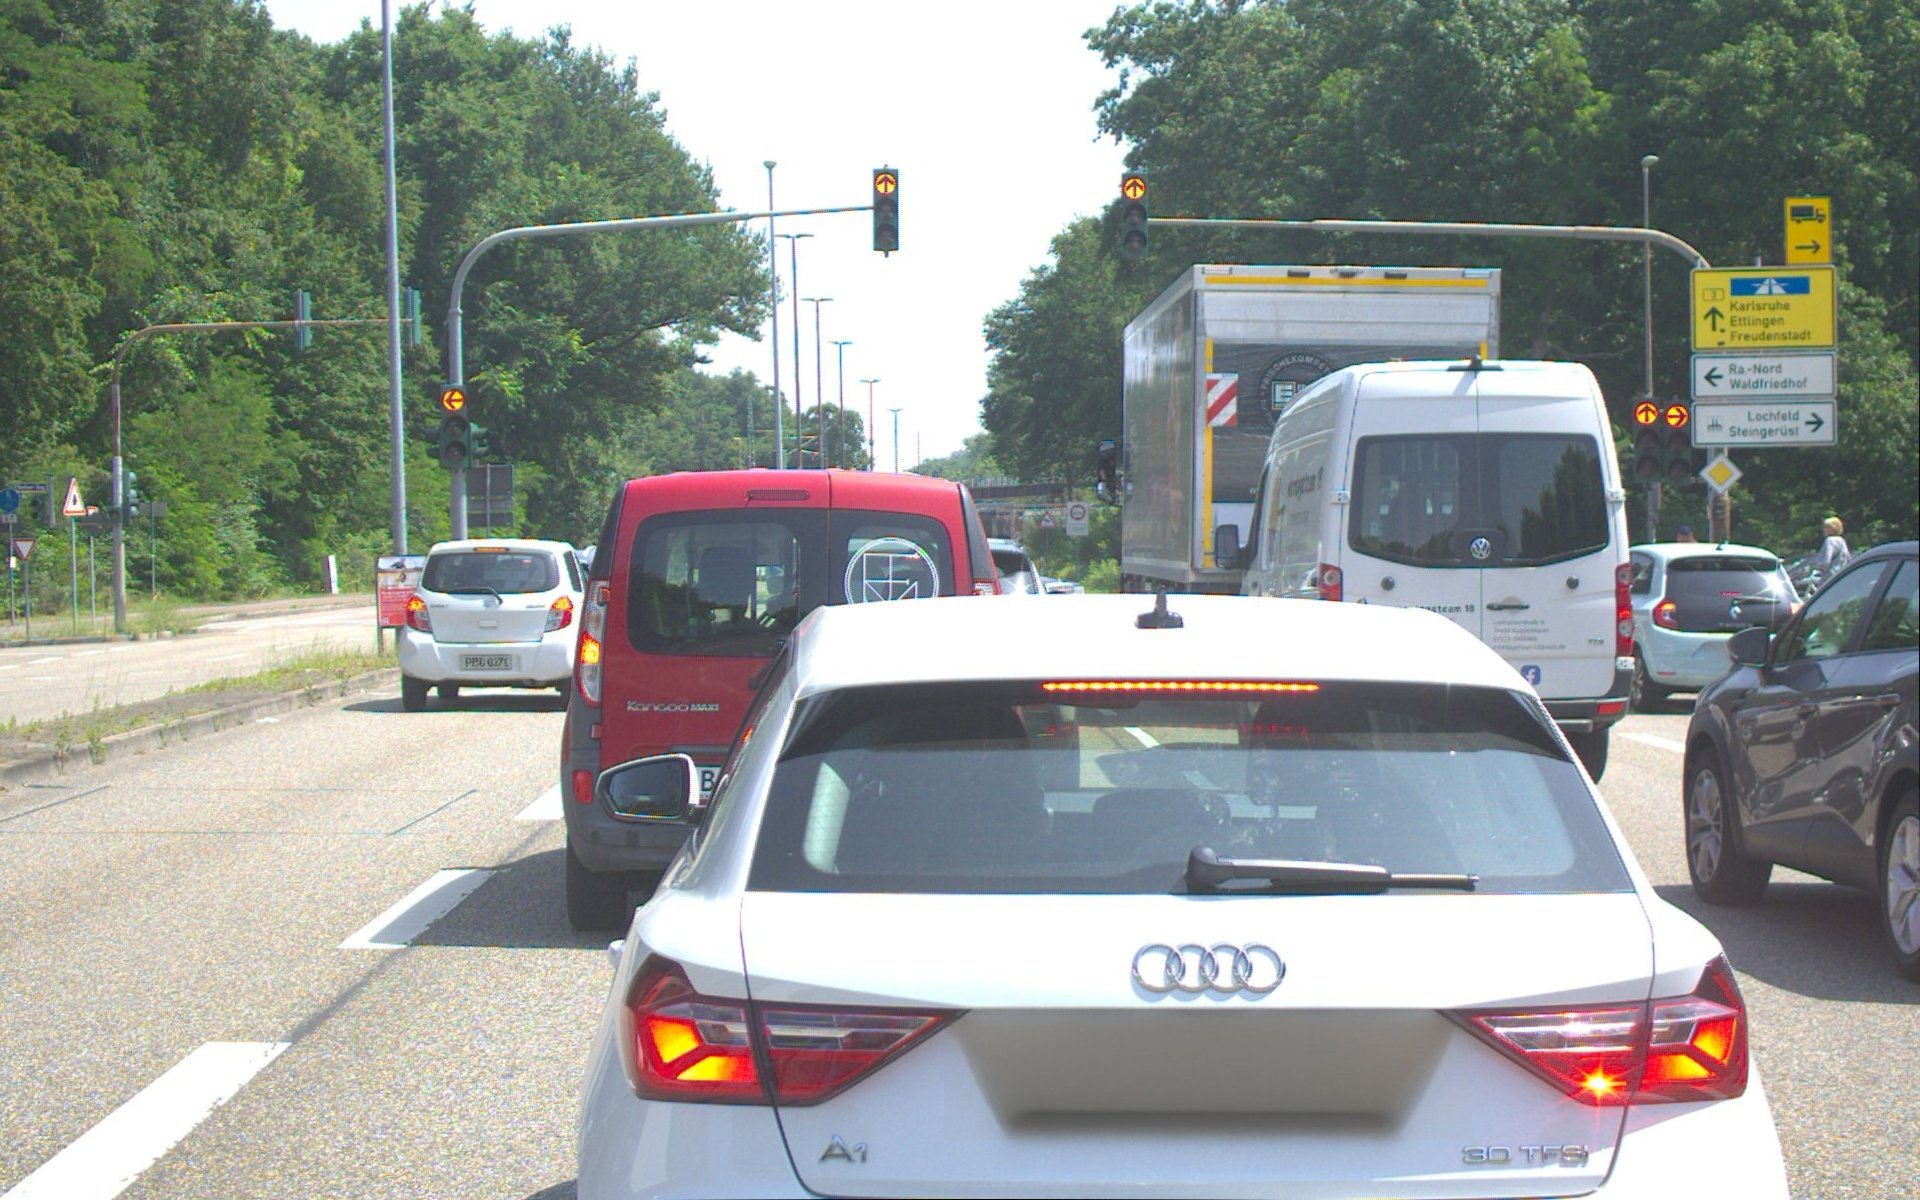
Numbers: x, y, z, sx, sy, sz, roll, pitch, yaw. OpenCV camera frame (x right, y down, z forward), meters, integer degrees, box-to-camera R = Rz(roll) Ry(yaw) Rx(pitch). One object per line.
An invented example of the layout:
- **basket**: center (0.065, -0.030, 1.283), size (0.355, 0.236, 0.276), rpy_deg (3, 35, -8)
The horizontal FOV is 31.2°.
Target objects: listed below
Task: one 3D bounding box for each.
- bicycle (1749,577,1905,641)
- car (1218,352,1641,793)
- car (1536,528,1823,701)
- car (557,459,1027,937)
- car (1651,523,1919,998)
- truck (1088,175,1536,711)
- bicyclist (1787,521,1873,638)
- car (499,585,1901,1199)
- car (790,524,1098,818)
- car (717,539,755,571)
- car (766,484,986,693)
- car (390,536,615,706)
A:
- **bicycle**: center (10.785, 0.107, 42.787), size (1.826, 0.763, 0.599), rpy_deg (0, 1, 45)
- **car**: center (2.993, -0.209, 23.008), size (2.031, 2.635, 4.846), rpy_deg (0, 1, -2)
- **car**: center (6.756, 0.090, 32.669), size (1.711, 1.541, 4.092), rpy_deg (0, 1, -2)
- **car**: center (-0.697, 0.319, 14.597), size (1.711, 1.742, 4.092), rpy_deg (0, 1, -2)
- **car**: center (3.997, 0.507, 13.188), size (1.711, 1.587, 4.092), rpy_deg (0, 1, -2)
- **truck**: center (3.139, -1.412, 34.375), size (3.088, 4.418, 11.581), rpy_deg (0, 1, -1)
- **bicyclist**: center (10.812, -0.252, 42.738), size (0.828, 1.434, 0.598), rpy_deg (0, 1, 44)
- **car**: center (0.213, 0.693, 6.235), size (1.711, 1.381, 4.092), rpy_deg (0, 1, -2)
- **car**: center (-0.173, 0.356, 21.131), size (1.711, 1.626, 4.092), rpy_deg (0, 1, -2)
- **car**: center (-12.730, -2.580, 195.694), size (1.993, 1.766, 4.205), rpy_deg (-1, 1, -2)
- **car**: center (-0.739, -0.128, 28.815), size (1.711, 1.626, 4.092), rpy_deg (0, 1, -2)
- **car**: center (-4.208, 0.142, 32.129), size (1.711, 1.487, 4.092), rpy_deg (0, 1, -2)
